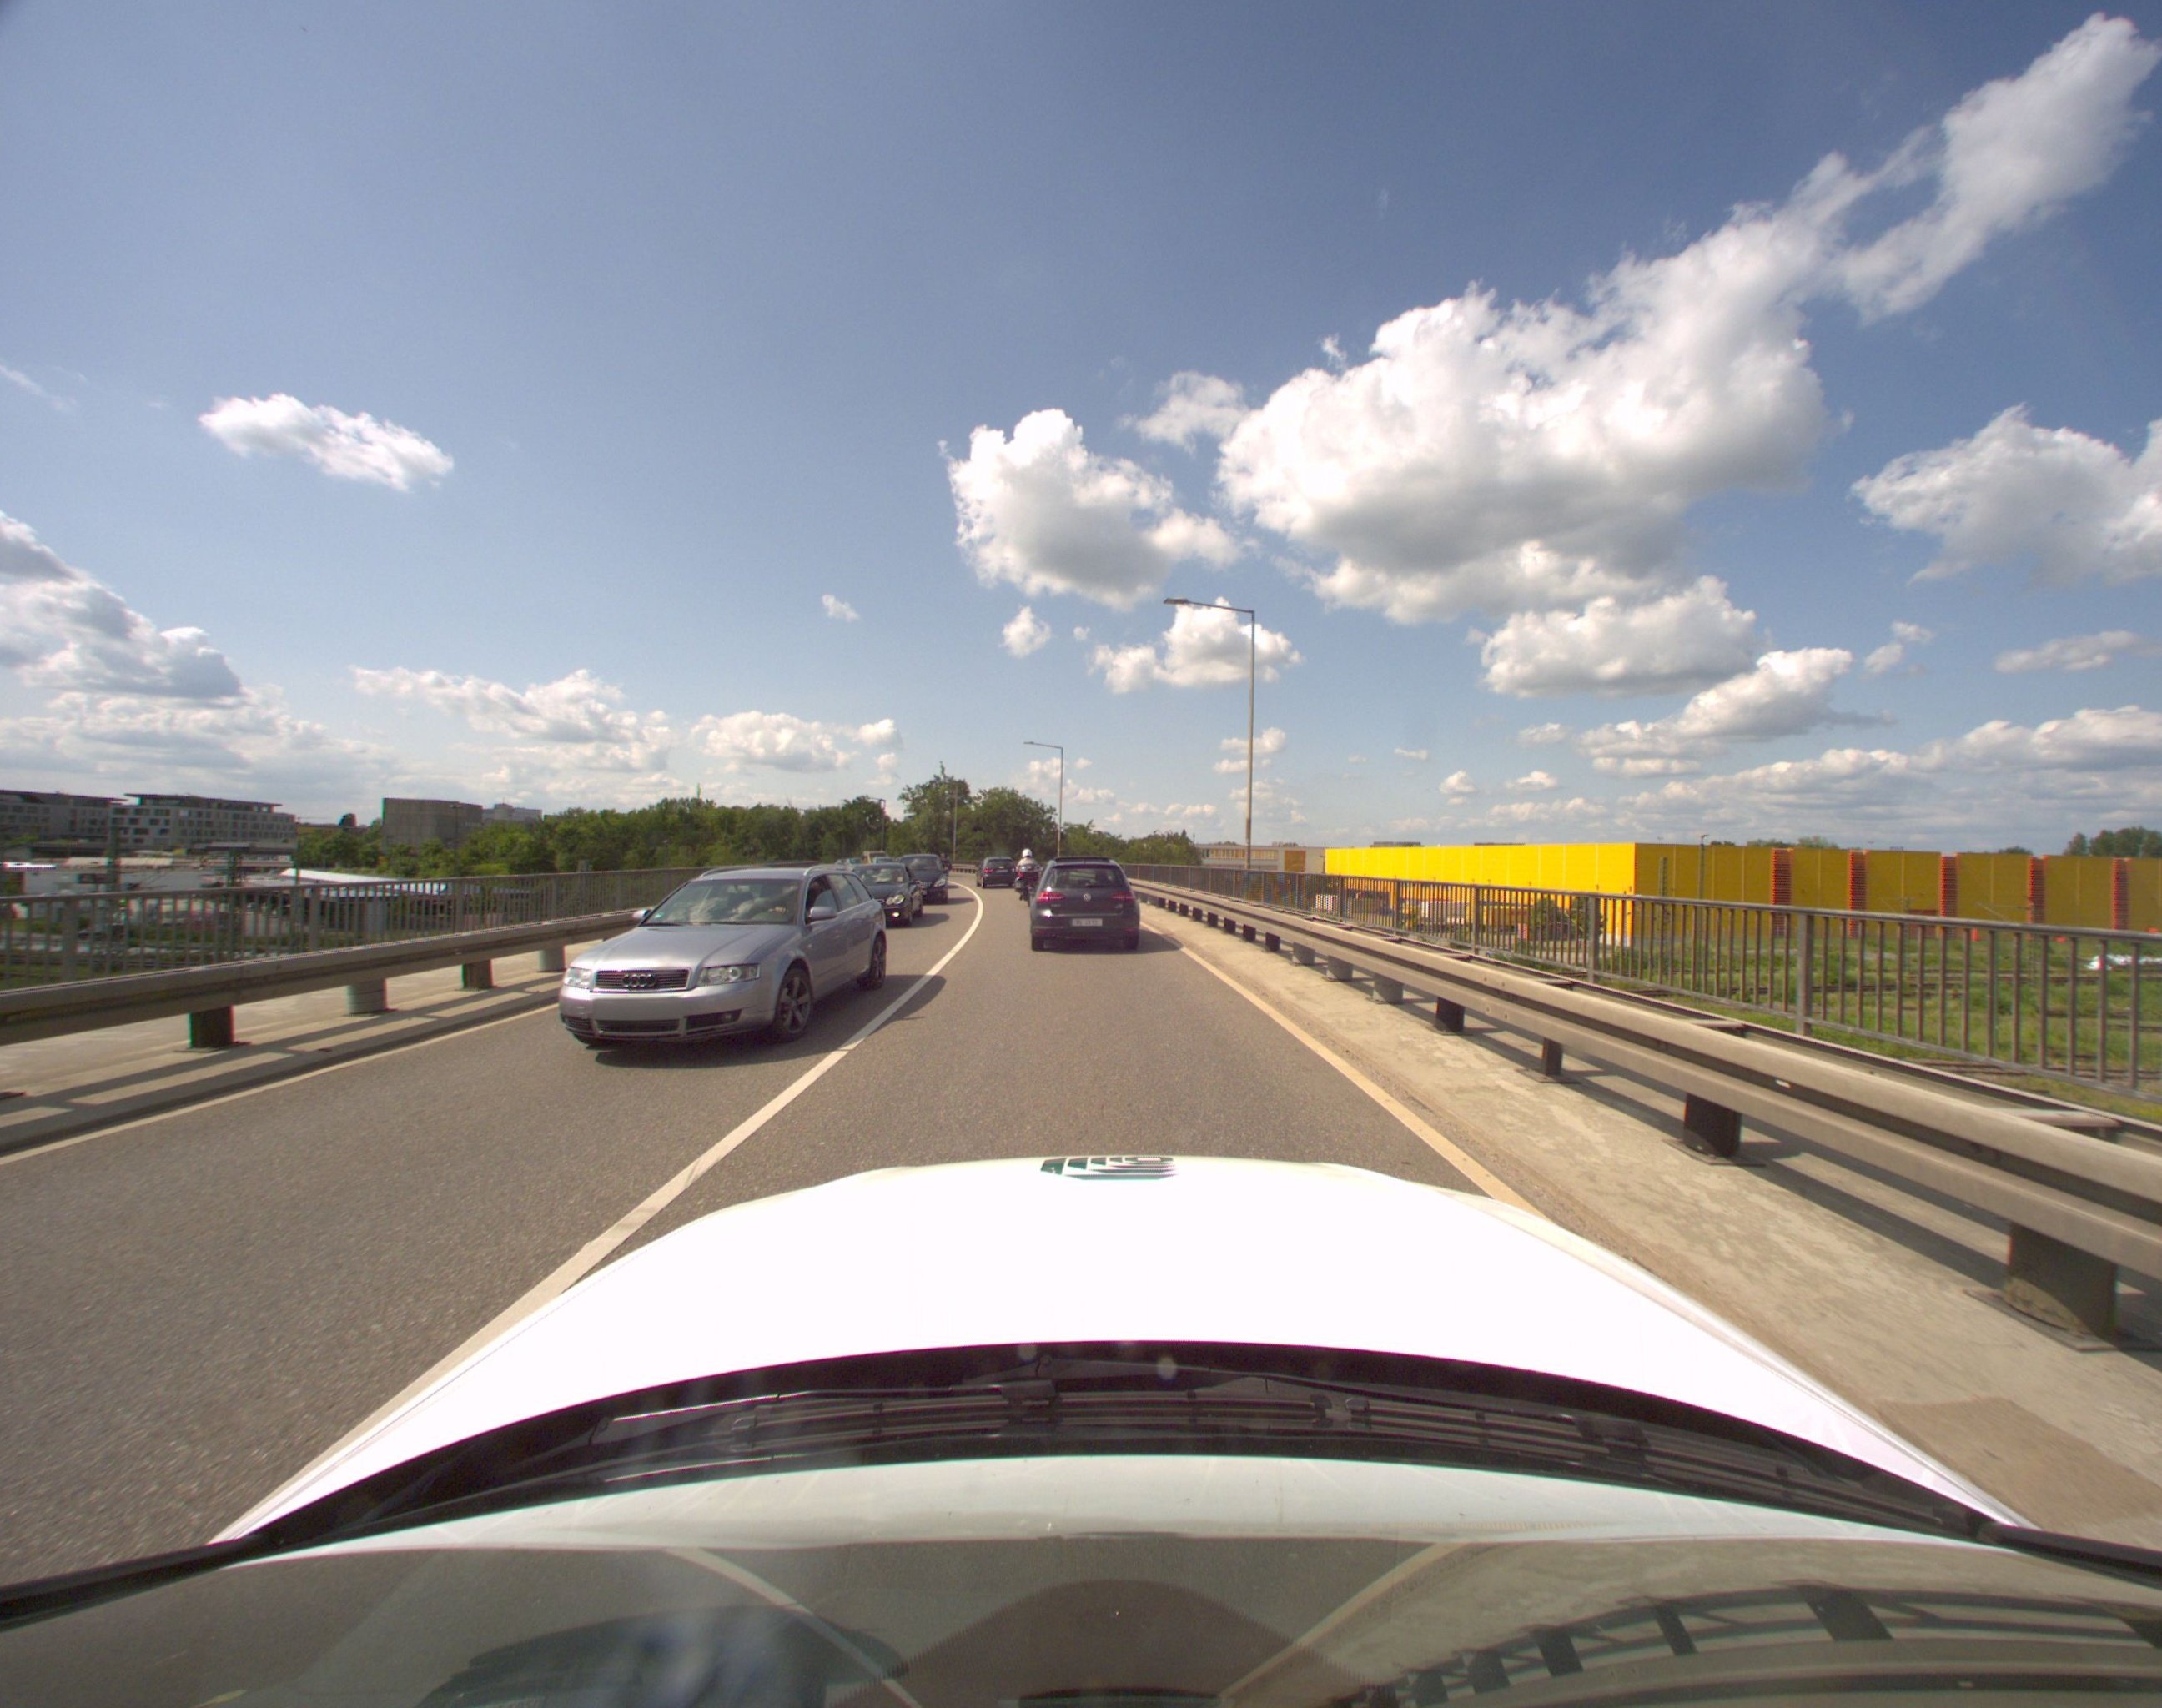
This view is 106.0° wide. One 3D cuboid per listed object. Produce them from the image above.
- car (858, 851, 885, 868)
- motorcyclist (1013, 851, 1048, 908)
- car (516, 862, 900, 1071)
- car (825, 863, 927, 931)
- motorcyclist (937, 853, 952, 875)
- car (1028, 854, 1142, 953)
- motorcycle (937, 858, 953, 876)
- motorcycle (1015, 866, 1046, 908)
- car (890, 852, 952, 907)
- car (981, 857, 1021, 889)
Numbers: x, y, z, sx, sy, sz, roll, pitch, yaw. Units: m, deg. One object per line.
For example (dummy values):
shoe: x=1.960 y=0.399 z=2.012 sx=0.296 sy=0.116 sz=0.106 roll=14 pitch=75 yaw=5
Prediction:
car: x=-17.982 y=0.453 z=69.790 sx=1.882 sy=1.401 sz=3.861 roll=-2 pitch=0 yaw=-19
motorcyclist: x=-1.489 y=0.739 z=23.777 sx=0.965 sy=1.620 sz=1.122 roll=0 pitch=0 yaw=-7
car: x=-3.205 y=0.839 z=8.097 sx=1.760 sy=1.460 sz=4.298 roll=-2 pitch=0 yaw=0
car: x=-4.638 y=0.911 z=18.954 sx=1.630 sy=1.345 sz=4.244 roll=-2 pitch=0 yaw=-6
motorcyclist: x=-9.954 y=0.738 z=59.287 sx=0.968 sy=1.596 sz=1.118 roll=0 pitch=0 yaw=-17
car: x=-0.059 y=0.765 z=14.218 sx=1.640 sy=1.479 sz=3.865 roll=0 pitch=-1 yaw=-5
motorcycle: x=-9.897 y=0.930 z=59.100 sx=0.889 sy=1.247 sz=2.386 roll=0 pitch=0 yaw=-16
motorcycle: x=-1.496 y=0.923 z=23.652 sx=0.788 sy=1.132 sz=2.394 roll=0 pitch=0 yaw=-6
car: x=-5.151 y=0.767 z=26.610 sx=1.683 sy=1.596 sz=4.271 roll=-2 pitch=0 yaw=-8
car: x=-3.735 y=0.867 z=37.534 sx=1.681 sy=1.388 sz=3.729 roll=-1 pitch=-1 yaw=-8
